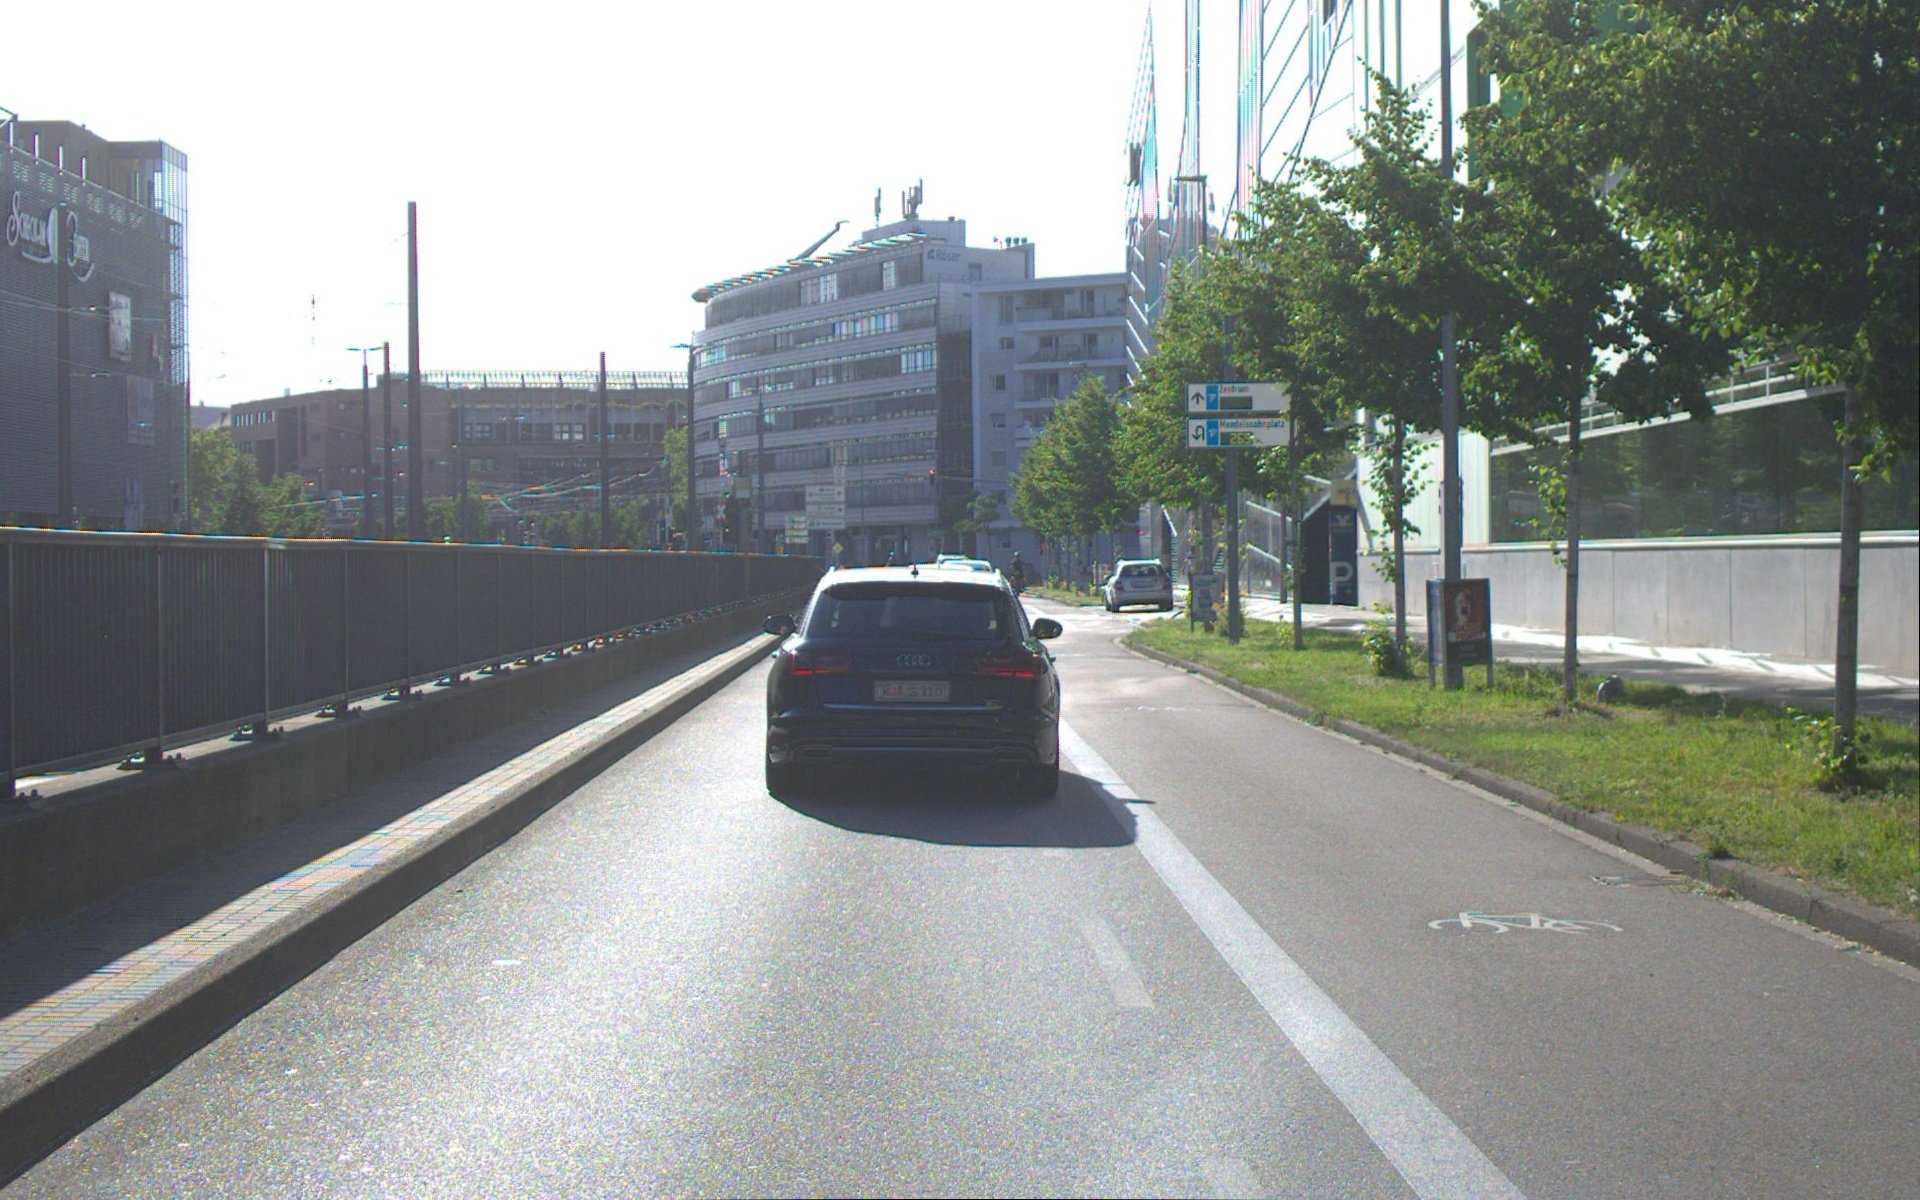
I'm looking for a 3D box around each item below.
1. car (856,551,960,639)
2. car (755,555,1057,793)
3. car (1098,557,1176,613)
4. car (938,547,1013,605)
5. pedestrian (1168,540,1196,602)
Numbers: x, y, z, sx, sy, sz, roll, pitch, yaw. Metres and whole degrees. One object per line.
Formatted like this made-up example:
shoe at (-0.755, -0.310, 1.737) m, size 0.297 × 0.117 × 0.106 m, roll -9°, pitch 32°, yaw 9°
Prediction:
car at (-0.991, -0.120, 64.026) m, size 1.852 × 1.541 × 4.000 m, roll 1°, pitch 1°, yaw -1°
car at (-0.392, 0.423, 23.075) m, size 1.812 × 1.422 × 4.690 m, roll 0°, pitch 0°, yaw -2°
car at (5.065, -0.457, 98.922) m, size 1.852 × 1.476 × 4.854 m, roll -2°, pitch 1°, yaw -1°
car at (0.437, -0.666, 93.714) m, size 1.993 × 1.460 × 4.000 m, roll 1°, pitch 2°, yaw 1°
pedestrian at (7.306, -0.955, 113.282) m, size 0.836 × 2.007 × 0.689 m, roll -1°, pitch 1°, yaw 0°
